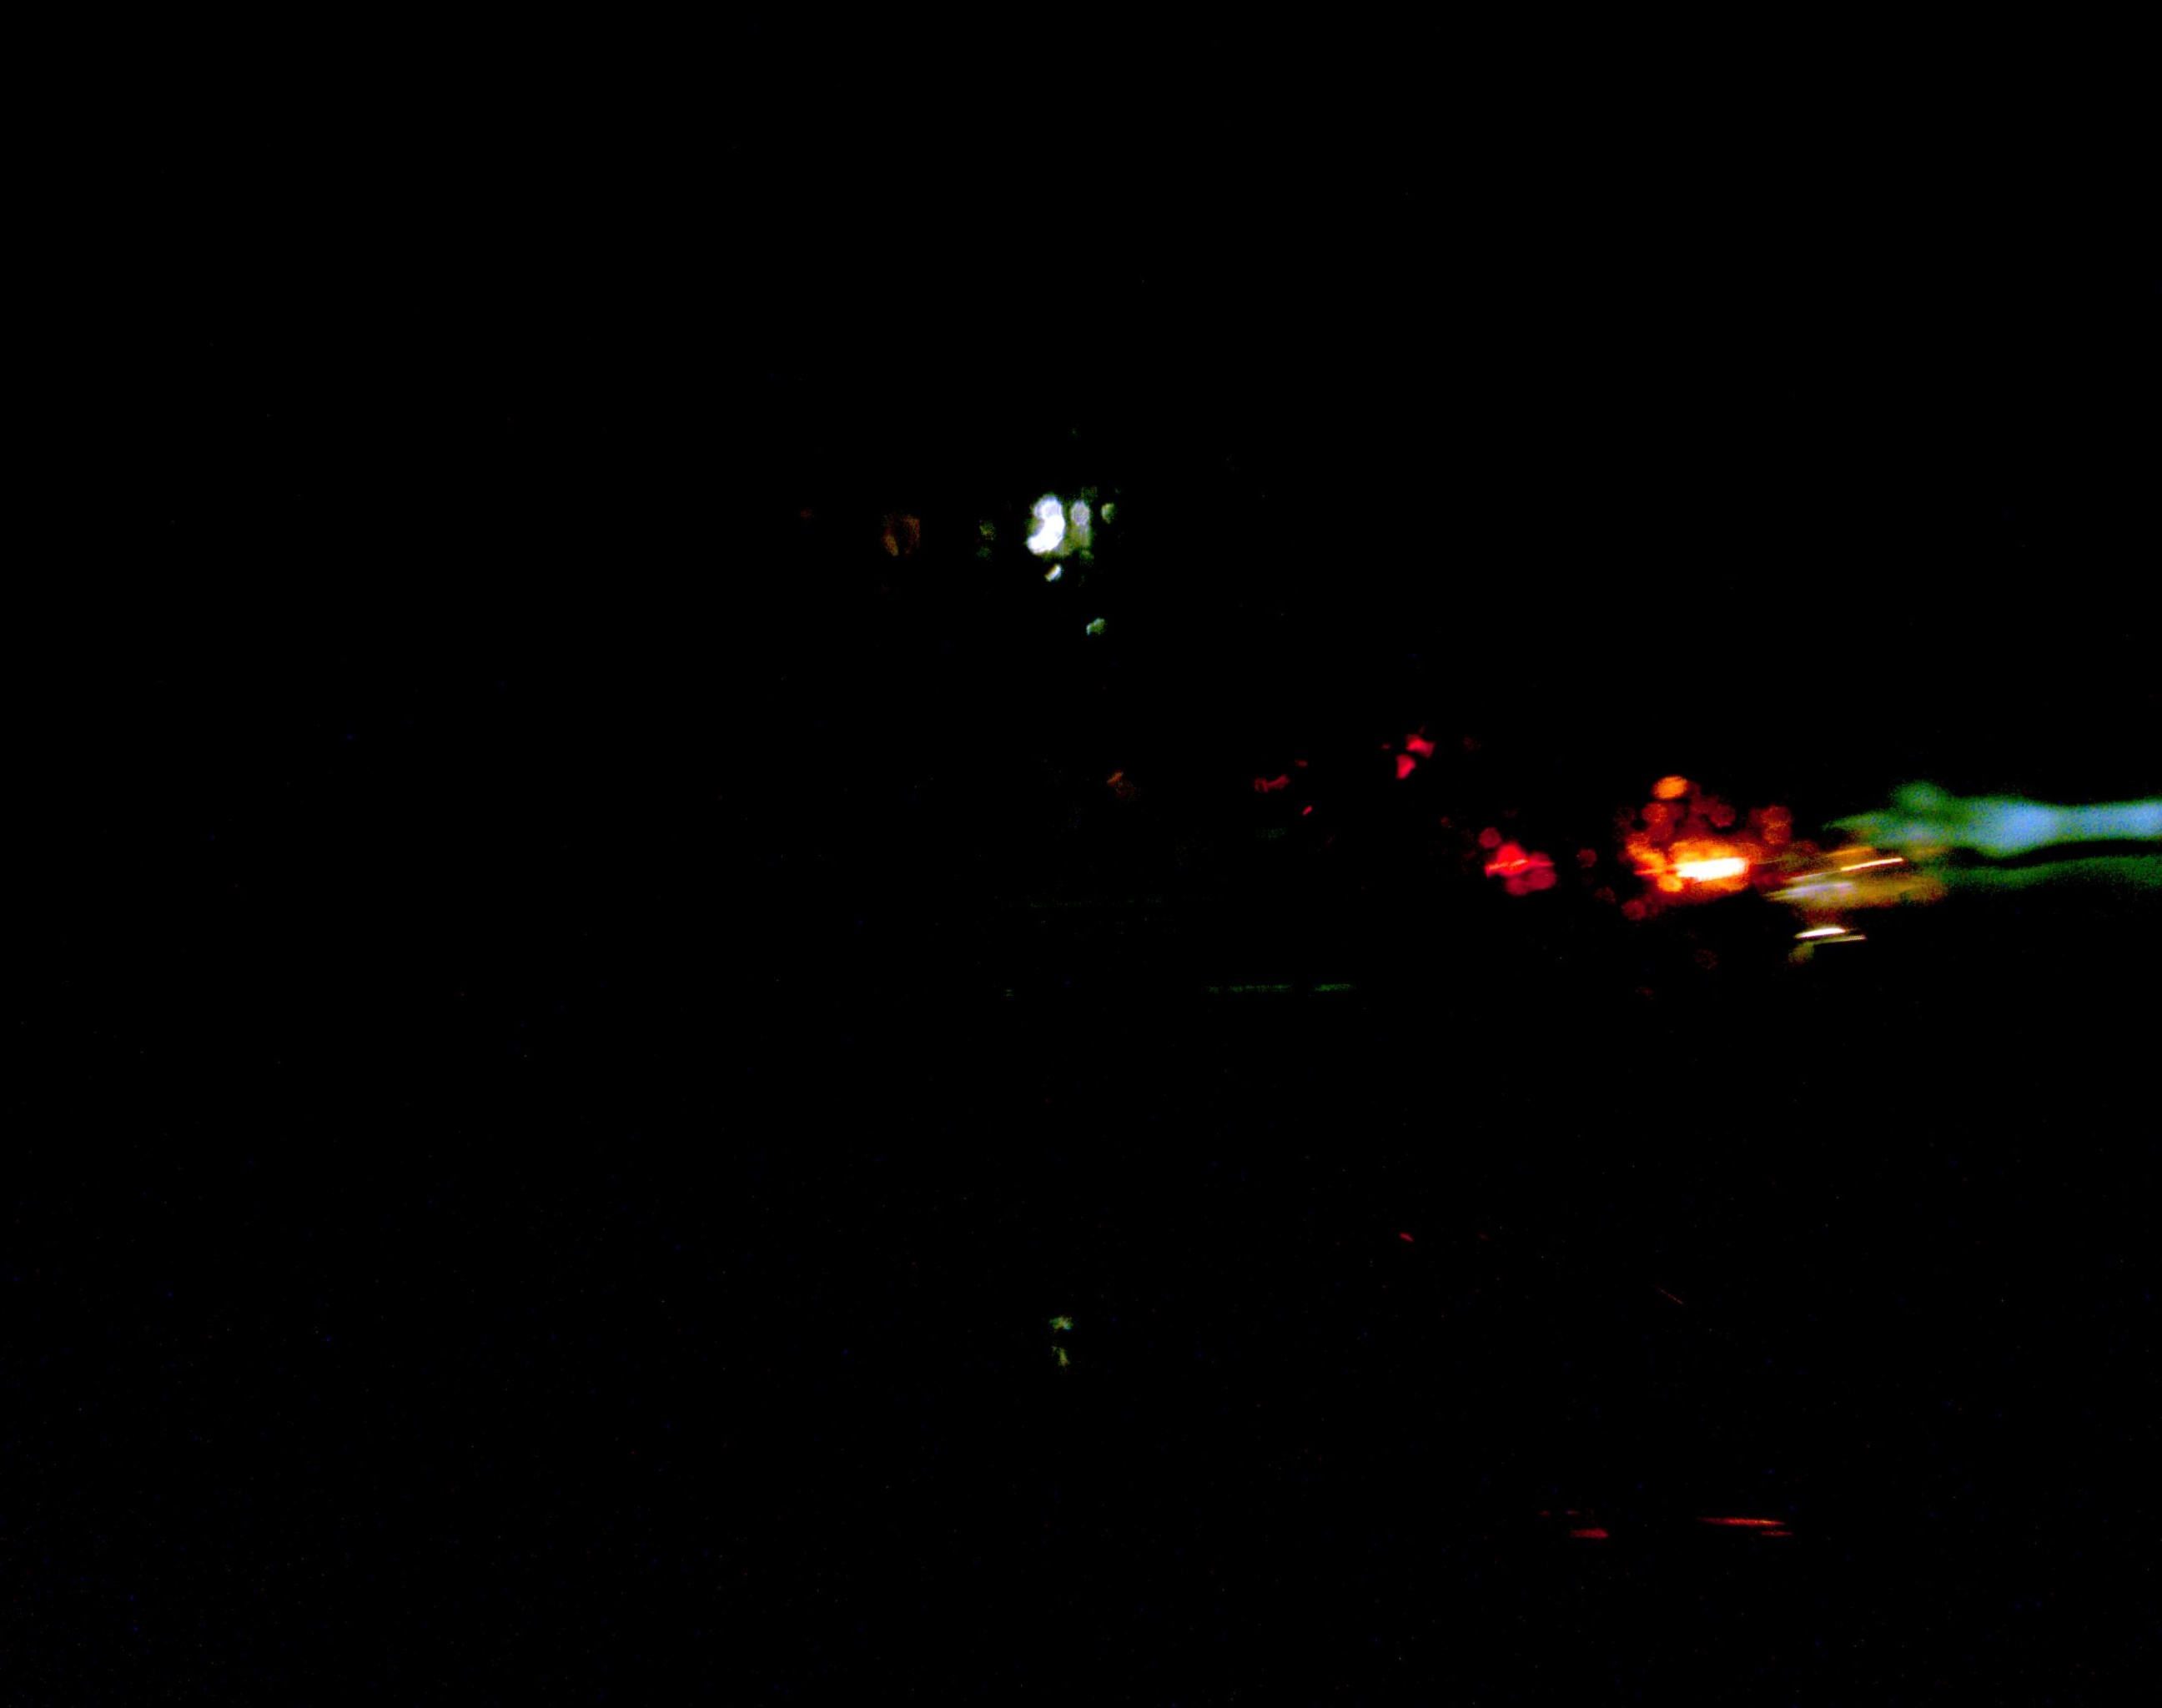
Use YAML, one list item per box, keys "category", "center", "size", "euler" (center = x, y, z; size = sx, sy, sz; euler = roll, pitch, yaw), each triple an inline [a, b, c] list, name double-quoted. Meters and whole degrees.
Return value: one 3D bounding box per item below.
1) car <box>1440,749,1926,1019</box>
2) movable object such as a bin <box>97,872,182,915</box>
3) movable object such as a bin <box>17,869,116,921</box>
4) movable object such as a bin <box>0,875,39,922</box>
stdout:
- category: "car"
  center: [5.293, 0.172, 7.054]
  size: [4.154, 1.677, 2.043]
  euler: [1, 1, -33]
- category: "movable object such as a bin"
  center: [-29.384, 1.218, 25.454]
  size: [1.320, 1.299, 1.240]
  euler: [0, -2, -25]
- category: "movable object such as a bin"
  center: [-30.823, 1.235, 24.788]
  size: [1.394, 1.413, 1.241]
  euler: [-3, 2, -25]
- category: "movable object such as a bin"
  center: [-32.075, 1.324, 24.041]
  size: [1.237, 1.325, 1.142]
  euler: [-2, 2, -31]
